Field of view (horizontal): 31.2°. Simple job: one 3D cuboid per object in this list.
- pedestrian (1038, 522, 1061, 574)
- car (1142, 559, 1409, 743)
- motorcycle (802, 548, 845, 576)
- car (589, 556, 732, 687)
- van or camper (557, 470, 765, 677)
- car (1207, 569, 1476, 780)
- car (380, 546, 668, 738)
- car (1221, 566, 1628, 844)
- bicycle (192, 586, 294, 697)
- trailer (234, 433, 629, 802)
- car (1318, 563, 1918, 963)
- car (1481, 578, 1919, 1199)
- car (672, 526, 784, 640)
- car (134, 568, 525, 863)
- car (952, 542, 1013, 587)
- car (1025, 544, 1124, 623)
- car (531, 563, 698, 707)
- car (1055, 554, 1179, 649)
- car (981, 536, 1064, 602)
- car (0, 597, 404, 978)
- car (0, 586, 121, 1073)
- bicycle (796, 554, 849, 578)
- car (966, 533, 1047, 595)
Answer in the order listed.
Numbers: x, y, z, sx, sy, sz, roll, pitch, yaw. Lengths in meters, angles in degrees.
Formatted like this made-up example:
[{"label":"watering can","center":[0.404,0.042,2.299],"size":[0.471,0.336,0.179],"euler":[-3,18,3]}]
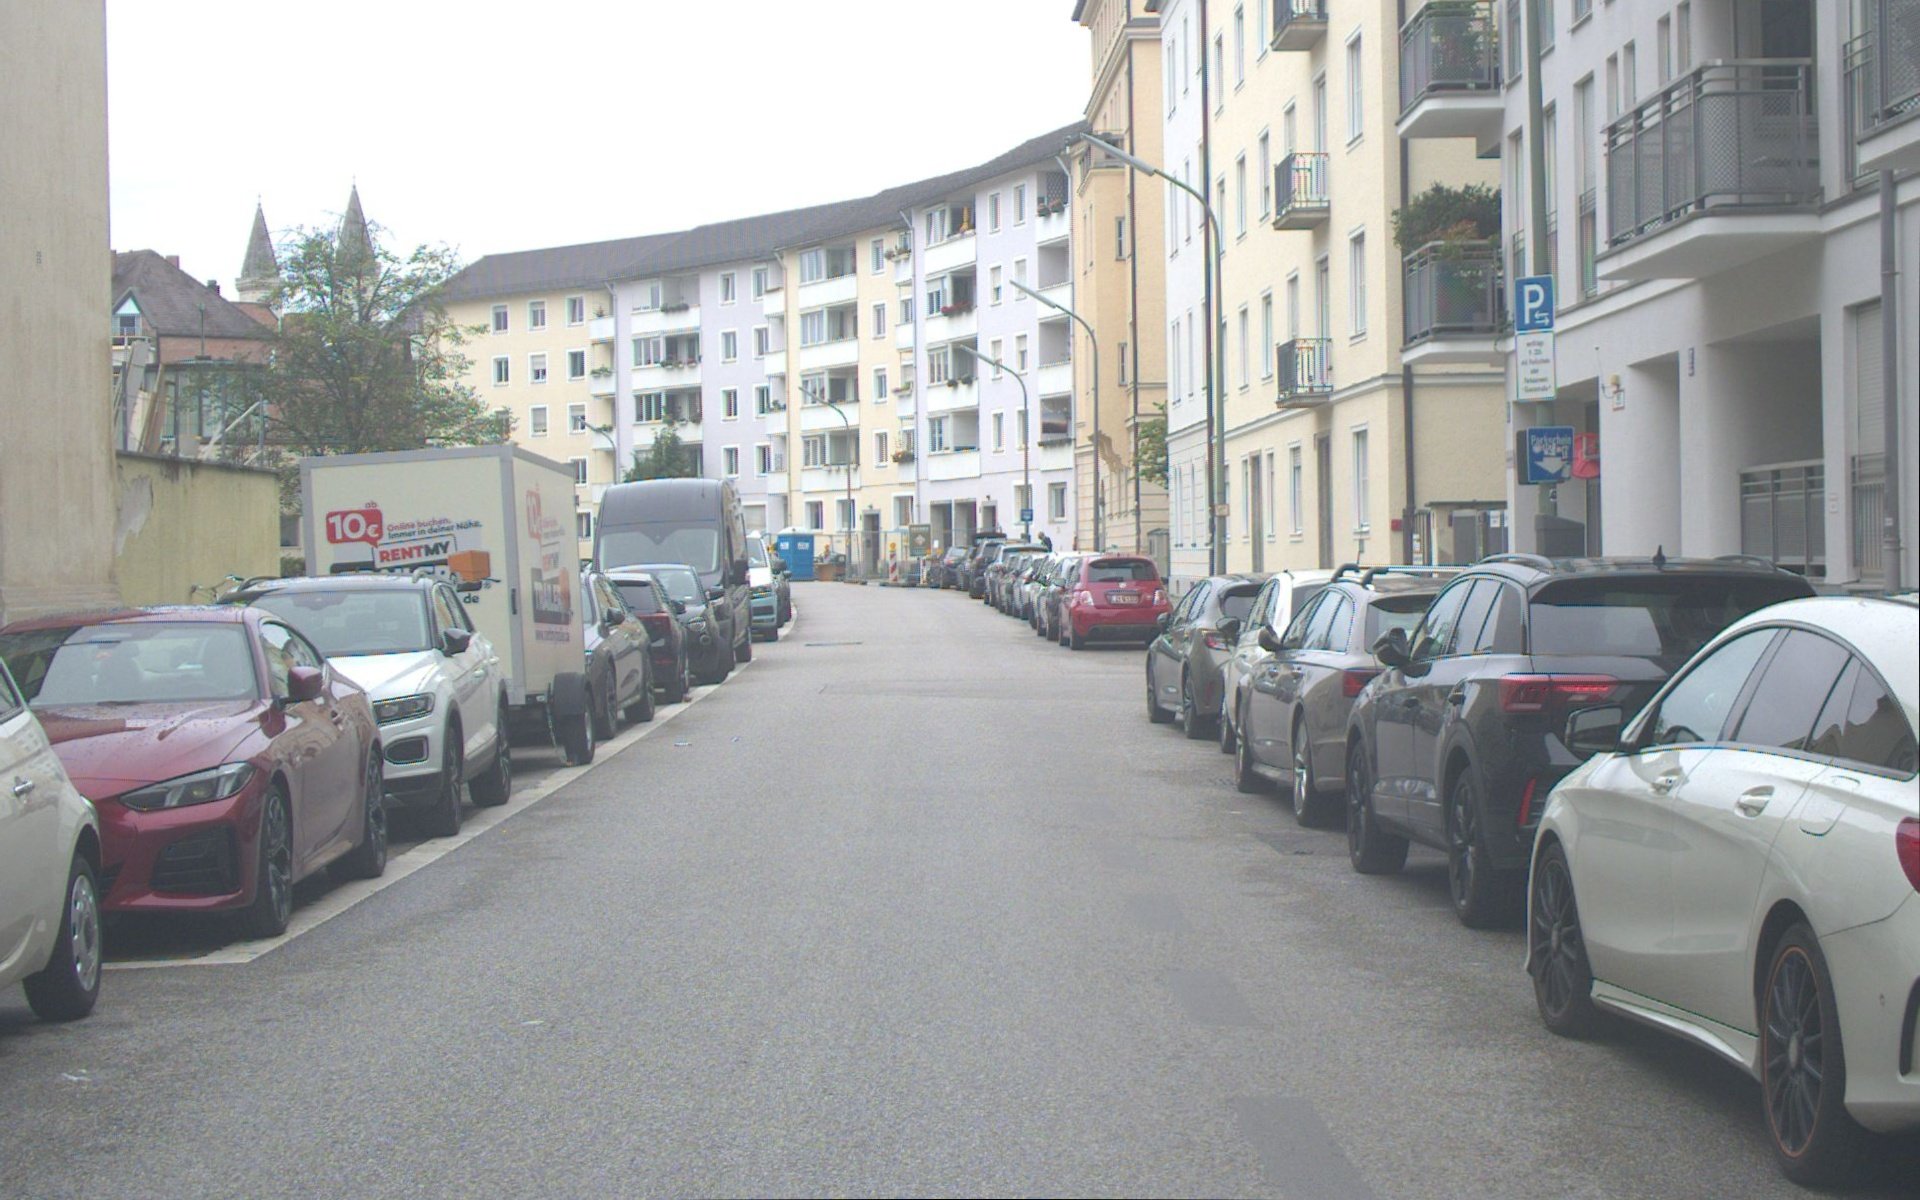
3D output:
[{"label":"pedestrian","center":[2.999,-1.755,115.757],"size":[0.617,1.684,0.919],"euler":[-4,1,-2]},{"label":"car","center":[2.737,0.401,30.714],"size":[1.771,1.470,4.218],"euler":[0,1,-3]},{"label":"motorcycle","center":[-5.933,-1.659,149.487],"size":[0.931,1.217,2.507],"euler":[-1,1,-26]},{"label":"car","center":[-3.770,0.231,43.499],"size":[1.652,1.492,3.910],"euler":[-3,1,-4]},{"label":"van or camper","center":[-4.135,-0.407,48.519],"size":[2.293,2.642,5.561],"euler":[-3,1,0]},{"label":"car","center":[2.879,0.519,26.594],"size":[1.617,1.462,3.747],"euler":[0,1,-1]},{"label":"car","center":[-3.951,0.320,31.991],"size":[1.863,1.536,5.091],"euler":[-2,1,1]},{"label":"car","center":[2.723,0.554,21.156],"size":[1.791,1.477,4.604],"euler":[0,1,-1]},{"label":"bicycle","center":[-8.273,0.467,39.735],"size":[0.802,1.229,1.868],"euler":[-1,0,-1]},{"label":"trailer","center":[-3.909,0.090,26.287],"size":[1.976,2.463,4.576],"euler":[-3,1,3]},{"label":"car","center":[2.792,0.621,15.505],"size":[1.837,1.527,4.022],"euler":[1,1,-1]},{"label":"car","center":[2.702,0.704,9.367],"size":[1.664,1.462,4.377],"euler":[1,1,-3]},{"label":"car","center":[-4.186,-0.348,61.577],"size":[1.914,1.953,4.962],"euler":[0,1,-5]},{"label":"car","center":[-3.759,0.622,21.148],"size":[1.679,1.525,4.107],"euler":[-2,1,-1]},{"label":"car","center":[0.716,-1.152,111.096],"size":[1.630,1.412,3.680],"euler":[0,1,-5]},{"label":"car","center":[2.313,-0.361,70.519],"size":[1.650,1.538,3.994],"euler":[0,1,-4]},{"label":"car","center":[-3.856,0.351,38.898],"size":[1.675,1.431,4.287],"euler":[-3,1,-4]},{"label":"car","center":[2.478,-0.001,55.042],"size":[1.654,1.425,3.756],"euler":[0,1,-2]},{"label":"car","center":[1.621,-0.835,90.636],"size":[1.846,1.658,4.499],"euler":[0,1,-3]},{"label":"car","center":[-3.734,0.743,15.622],"size":[1.745,1.363,4.403],"euler":[-2,1,-1]},{"label":"car","center":[-3.753,0.730,10.359],"size":[1.626,1.462,3.521],"euler":[-1,1,-1]},{"label":"bicycle","center":[-6.301,-1.576,157.622],"size":[2.232,1.066,0.919],"euler":[-1,1,-25]},{"label":"car","center":[1.343,-1.081,100.895],"size":[2.169,1.733,5.024],"euler":[0,1,-1]}]
